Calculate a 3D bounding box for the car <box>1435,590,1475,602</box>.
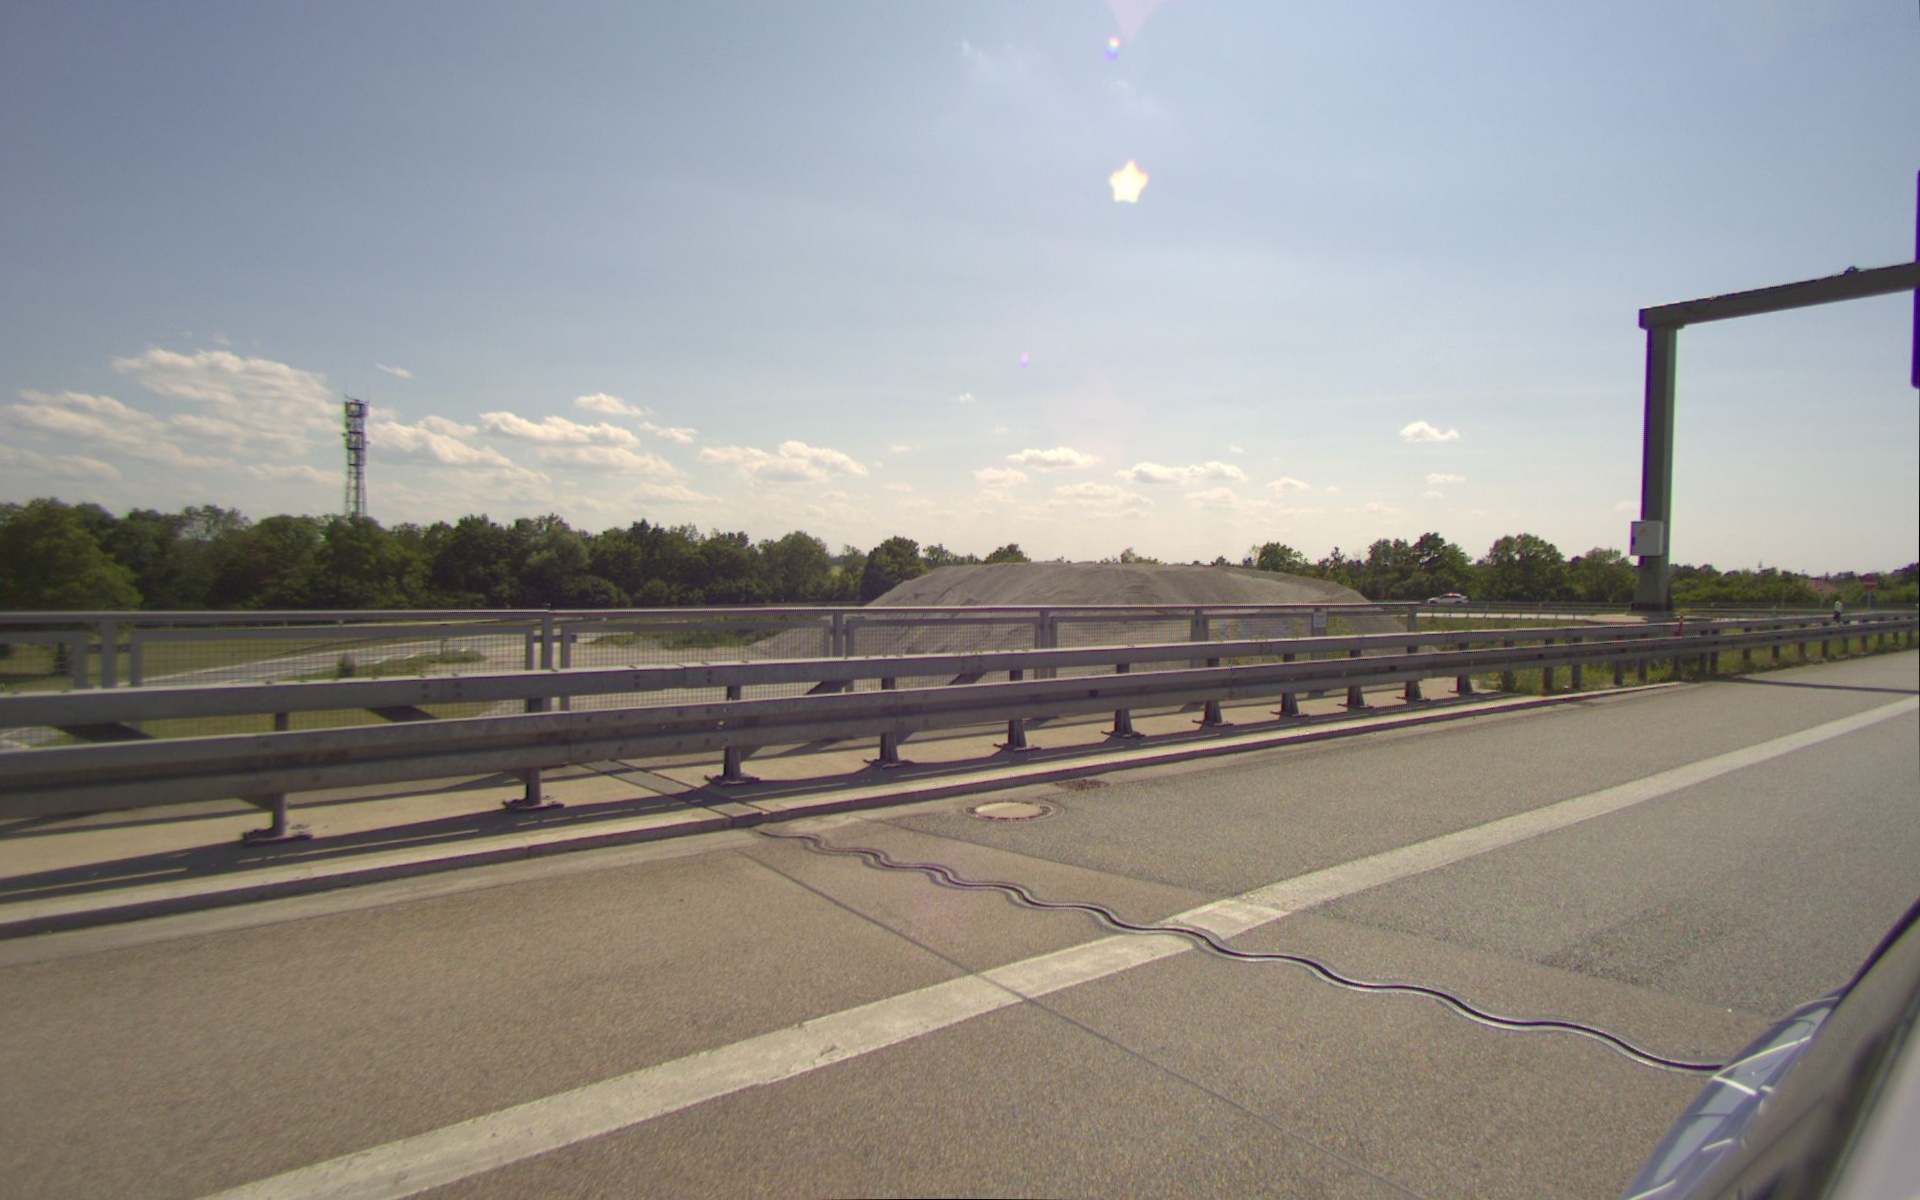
[{"bbox_3d":[62.558,-0.521,127.815,4.272,1.527,1.974,-1,0,36],"label":"car"}]
